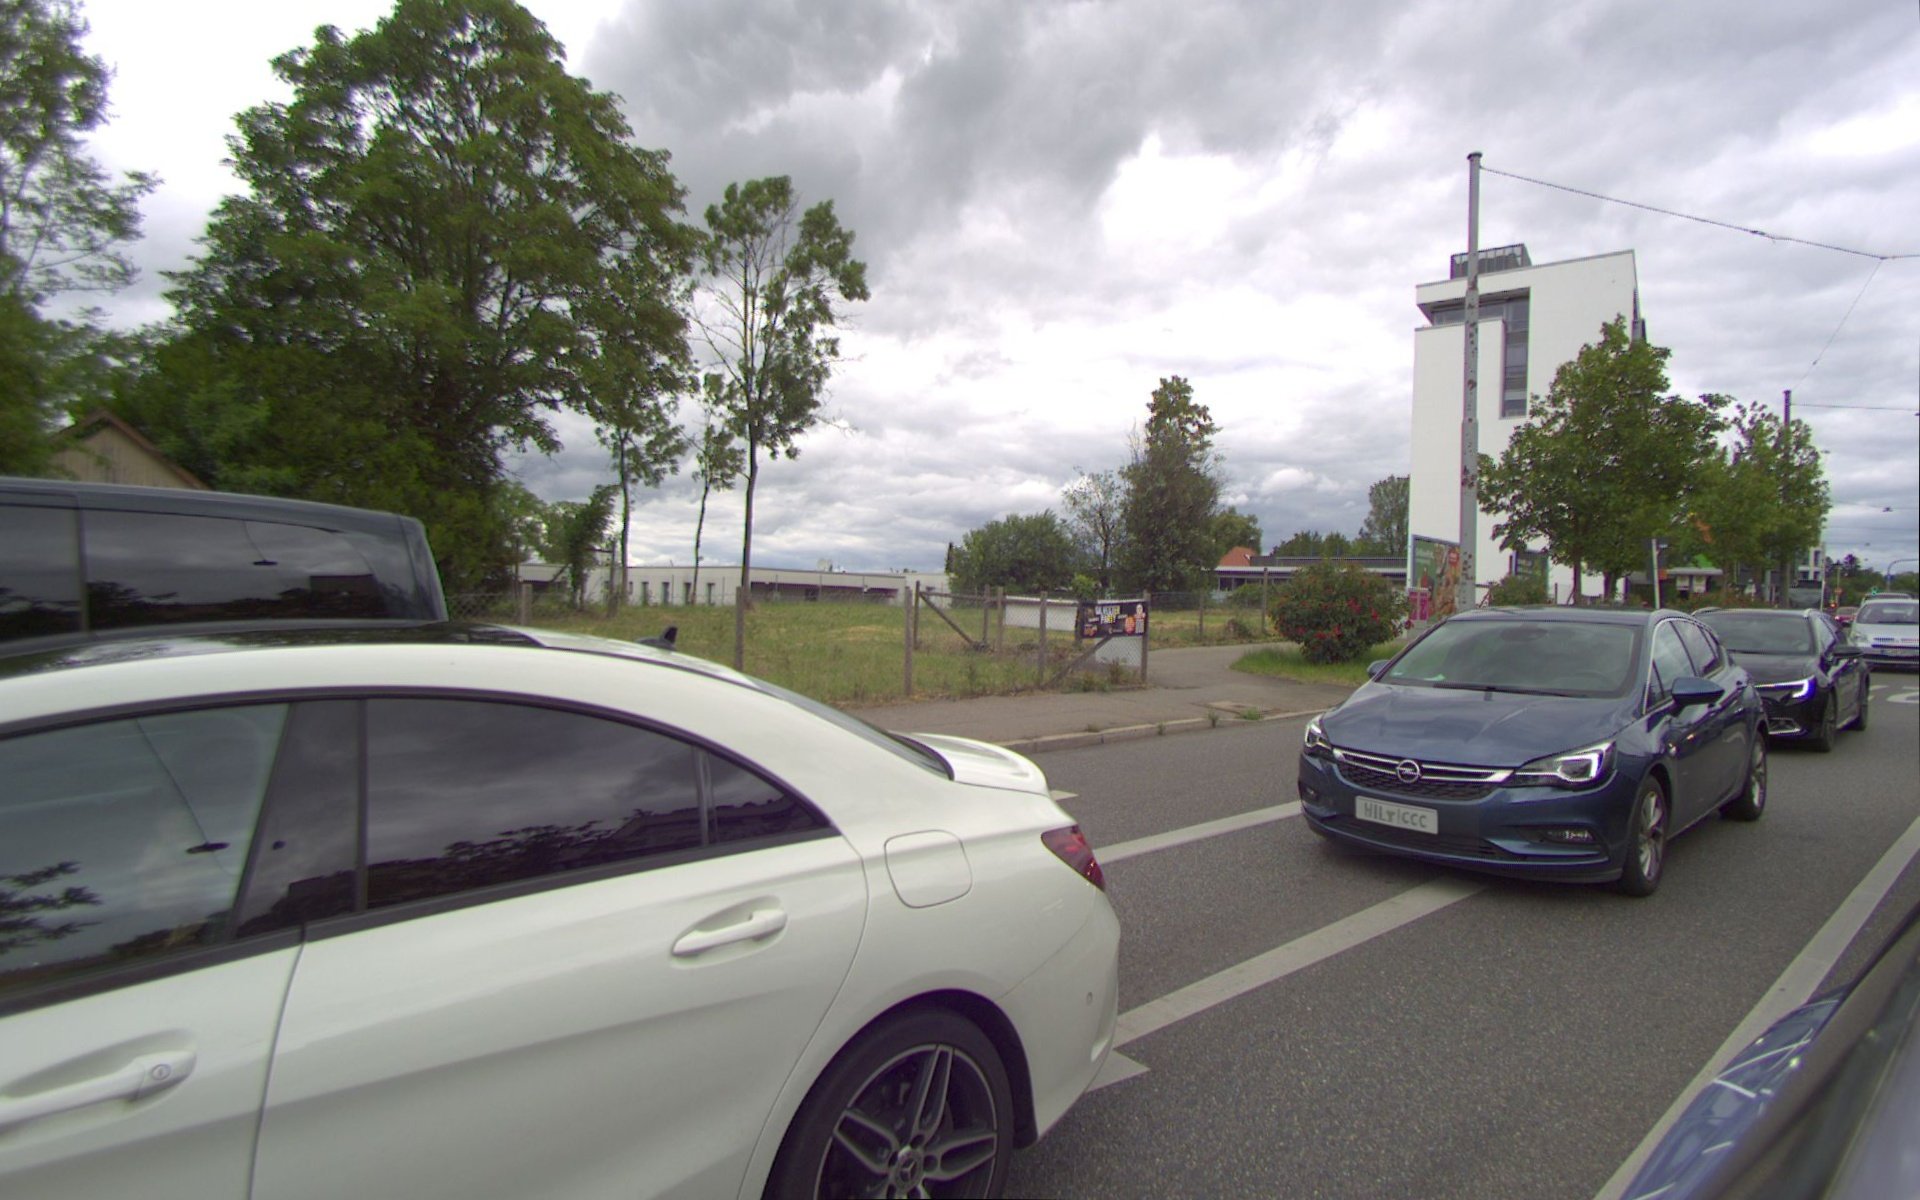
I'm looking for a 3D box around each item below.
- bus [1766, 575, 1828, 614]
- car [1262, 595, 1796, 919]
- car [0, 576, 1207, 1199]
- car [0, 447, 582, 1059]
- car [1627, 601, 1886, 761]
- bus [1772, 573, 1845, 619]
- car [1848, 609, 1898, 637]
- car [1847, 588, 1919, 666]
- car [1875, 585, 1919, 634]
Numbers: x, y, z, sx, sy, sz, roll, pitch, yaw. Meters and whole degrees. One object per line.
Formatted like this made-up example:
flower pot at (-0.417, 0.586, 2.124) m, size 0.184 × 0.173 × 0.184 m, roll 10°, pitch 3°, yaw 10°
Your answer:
bus at (61.416, -0.445, 74.482) m, size 2.952 × 2.664 × 12.751 m, roll 0°, pitch 1°, yaw 37°
car at (3.811, 0.690, 6.485) m, size 3.931 × 1.428 × 1.825 m, roll 0°, pitch 0°, yaw -42°
car at (-1.536, 0.694, 1.818) m, size 4.300 × 1.451 × 1.652 m, roll 0°, pitch 1°, yaw -41°
car at (-3.960, 0.471, 3.475) m, size 4.627 × 1.863 × 1.952 m, roll 0°, pitch -1°, yaw -41°
car at (9.063, 0.763, 11.410) m, size 3.854 × 1.475 × 1.663 m, roll 0°, pitch 0°, yaw -42°
bus at (53.950, -0.311, 64.582) m, size 2.952 × 2.664 × 11.986 m, roll 0°, pitch 1°, yaw 37°
car at (60.222, 1.475, 66.795) m, size 1.988 × 1.621 × 3.948 m, roll 2°, pitch 1°, yaw 36°
car at (21.624, 0.569, 22.897) m, size 3.717 × 1.637 × 1.849 m, roll 0°, pitch -1°, yaw -41°
car at (38.830, 0.365, 41.536) m, size 1.845 × 1.910 × 4.073 m, roll -1°, pitch -1°, yaw 42°
